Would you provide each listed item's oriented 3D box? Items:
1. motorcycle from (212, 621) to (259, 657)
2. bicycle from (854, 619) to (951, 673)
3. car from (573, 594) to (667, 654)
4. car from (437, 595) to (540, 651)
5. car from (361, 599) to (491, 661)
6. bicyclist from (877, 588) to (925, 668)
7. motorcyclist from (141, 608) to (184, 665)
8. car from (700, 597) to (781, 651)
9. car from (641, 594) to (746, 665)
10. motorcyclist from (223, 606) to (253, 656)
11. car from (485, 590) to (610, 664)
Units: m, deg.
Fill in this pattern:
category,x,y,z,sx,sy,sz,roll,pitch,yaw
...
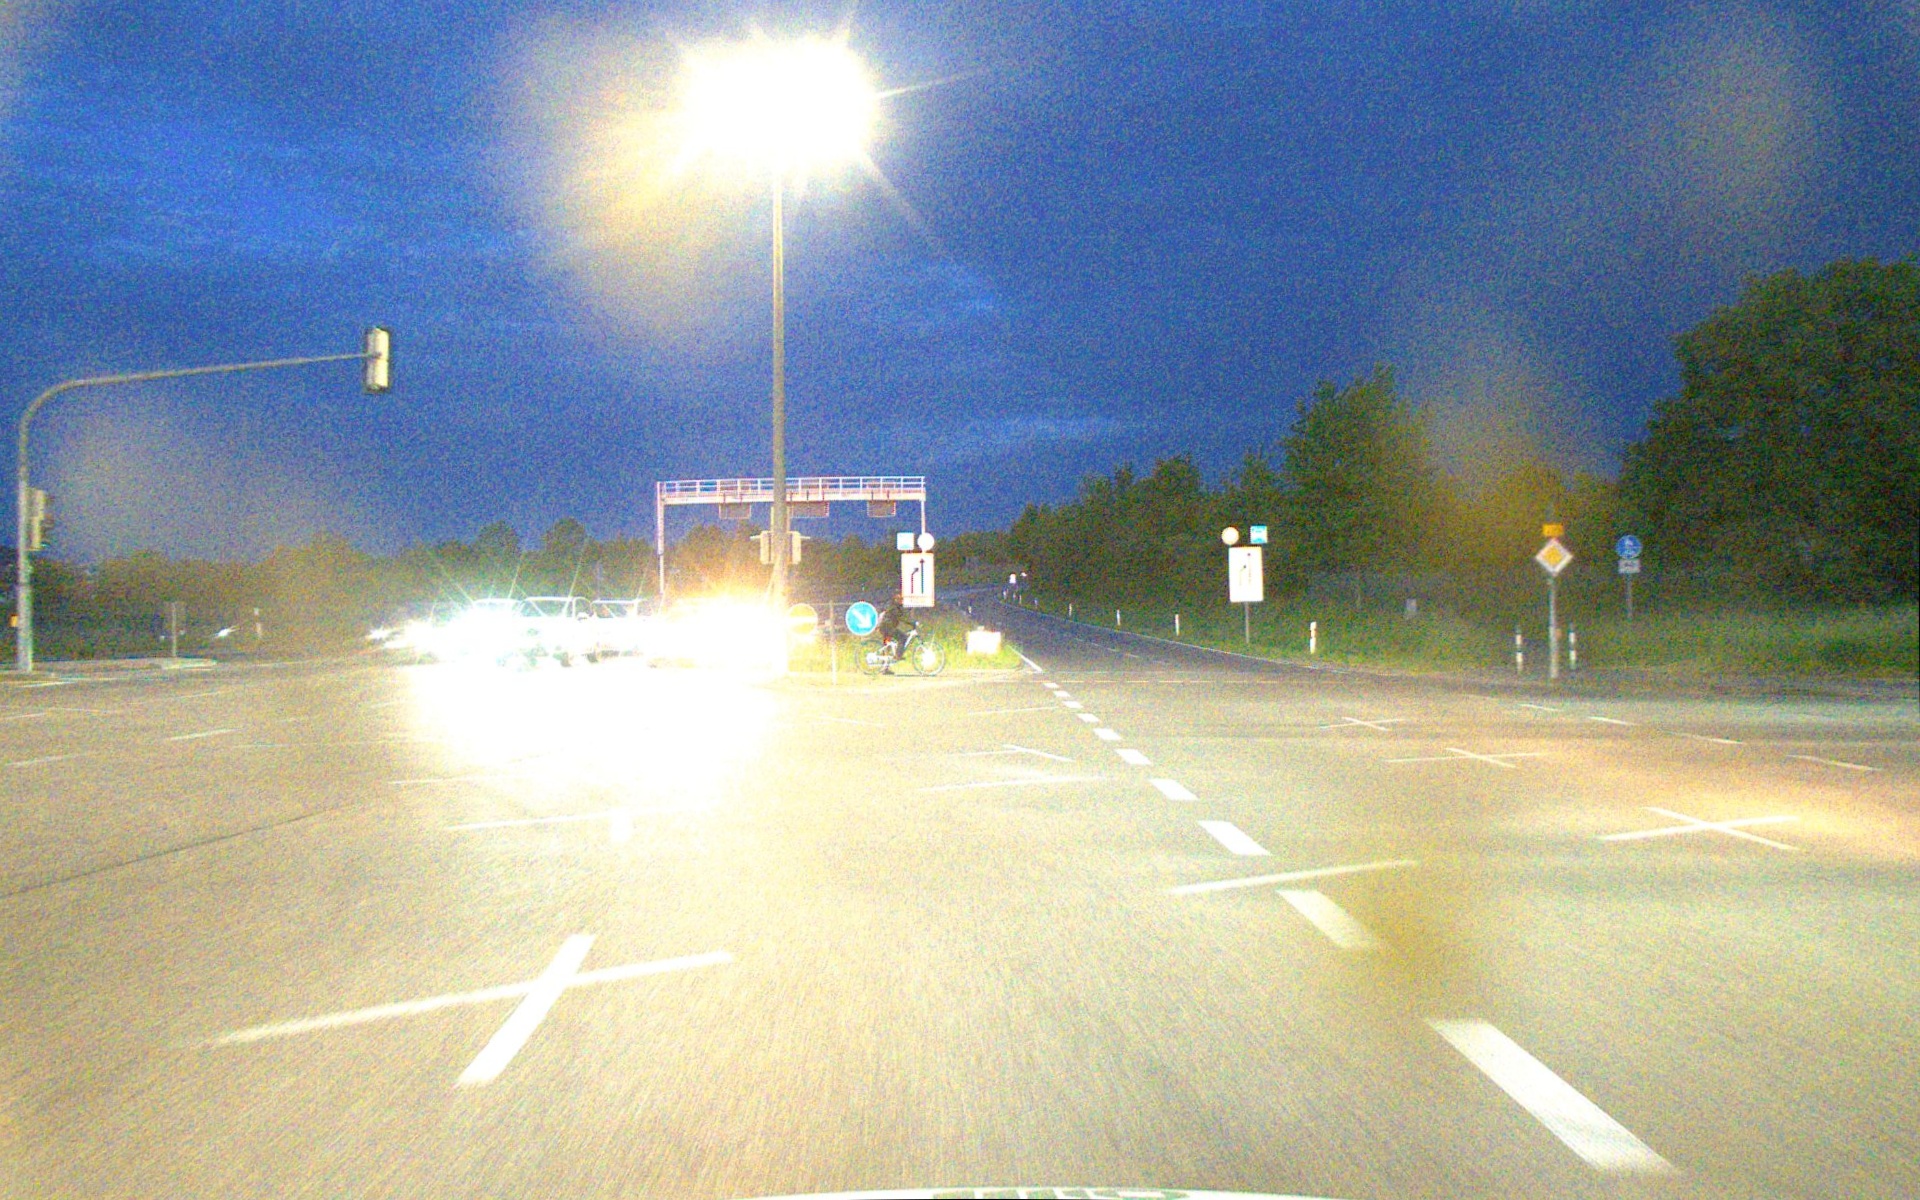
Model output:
category,x,y,z,sx,sy,sz,roll,pitch,yaw
motorcycle,-26.366,1.430,60.205,0.830,1.202,1.821,-4,-2,0
bicycle,-1.229,0.969,35.074,2.021,1.120,0.694,0,-1,-5
car,-9.827,0.652,48.138,1.709,1.655,4.363,0,0,2
car,-13.679,0.642,48.208,1.794,1.551,4.000,0,0,1
car,-13.541,0.735,42.196,1.743,1.471,4.292,1,0,3
bicyclist,-1.258,0.593,35.090,0.977,1.680,0.603,0,-1,-5
motorcyclist,-26.873,1.239,55.729,0.895,1.840,0.871,-5,-3,6
car,-6.475,0.676,49.061,1.736,1.507,3.911,1,0,2
car,-6.585,0.686,41.332,1.813,1.661,4.586,0,0,1
motorcyclist,-26.358,1.133,60.368,0.668,1.790,0.790,-4,-2,0
car,-10.169,0.634,41.065,1.869,1.711,4.421,1,0,2
